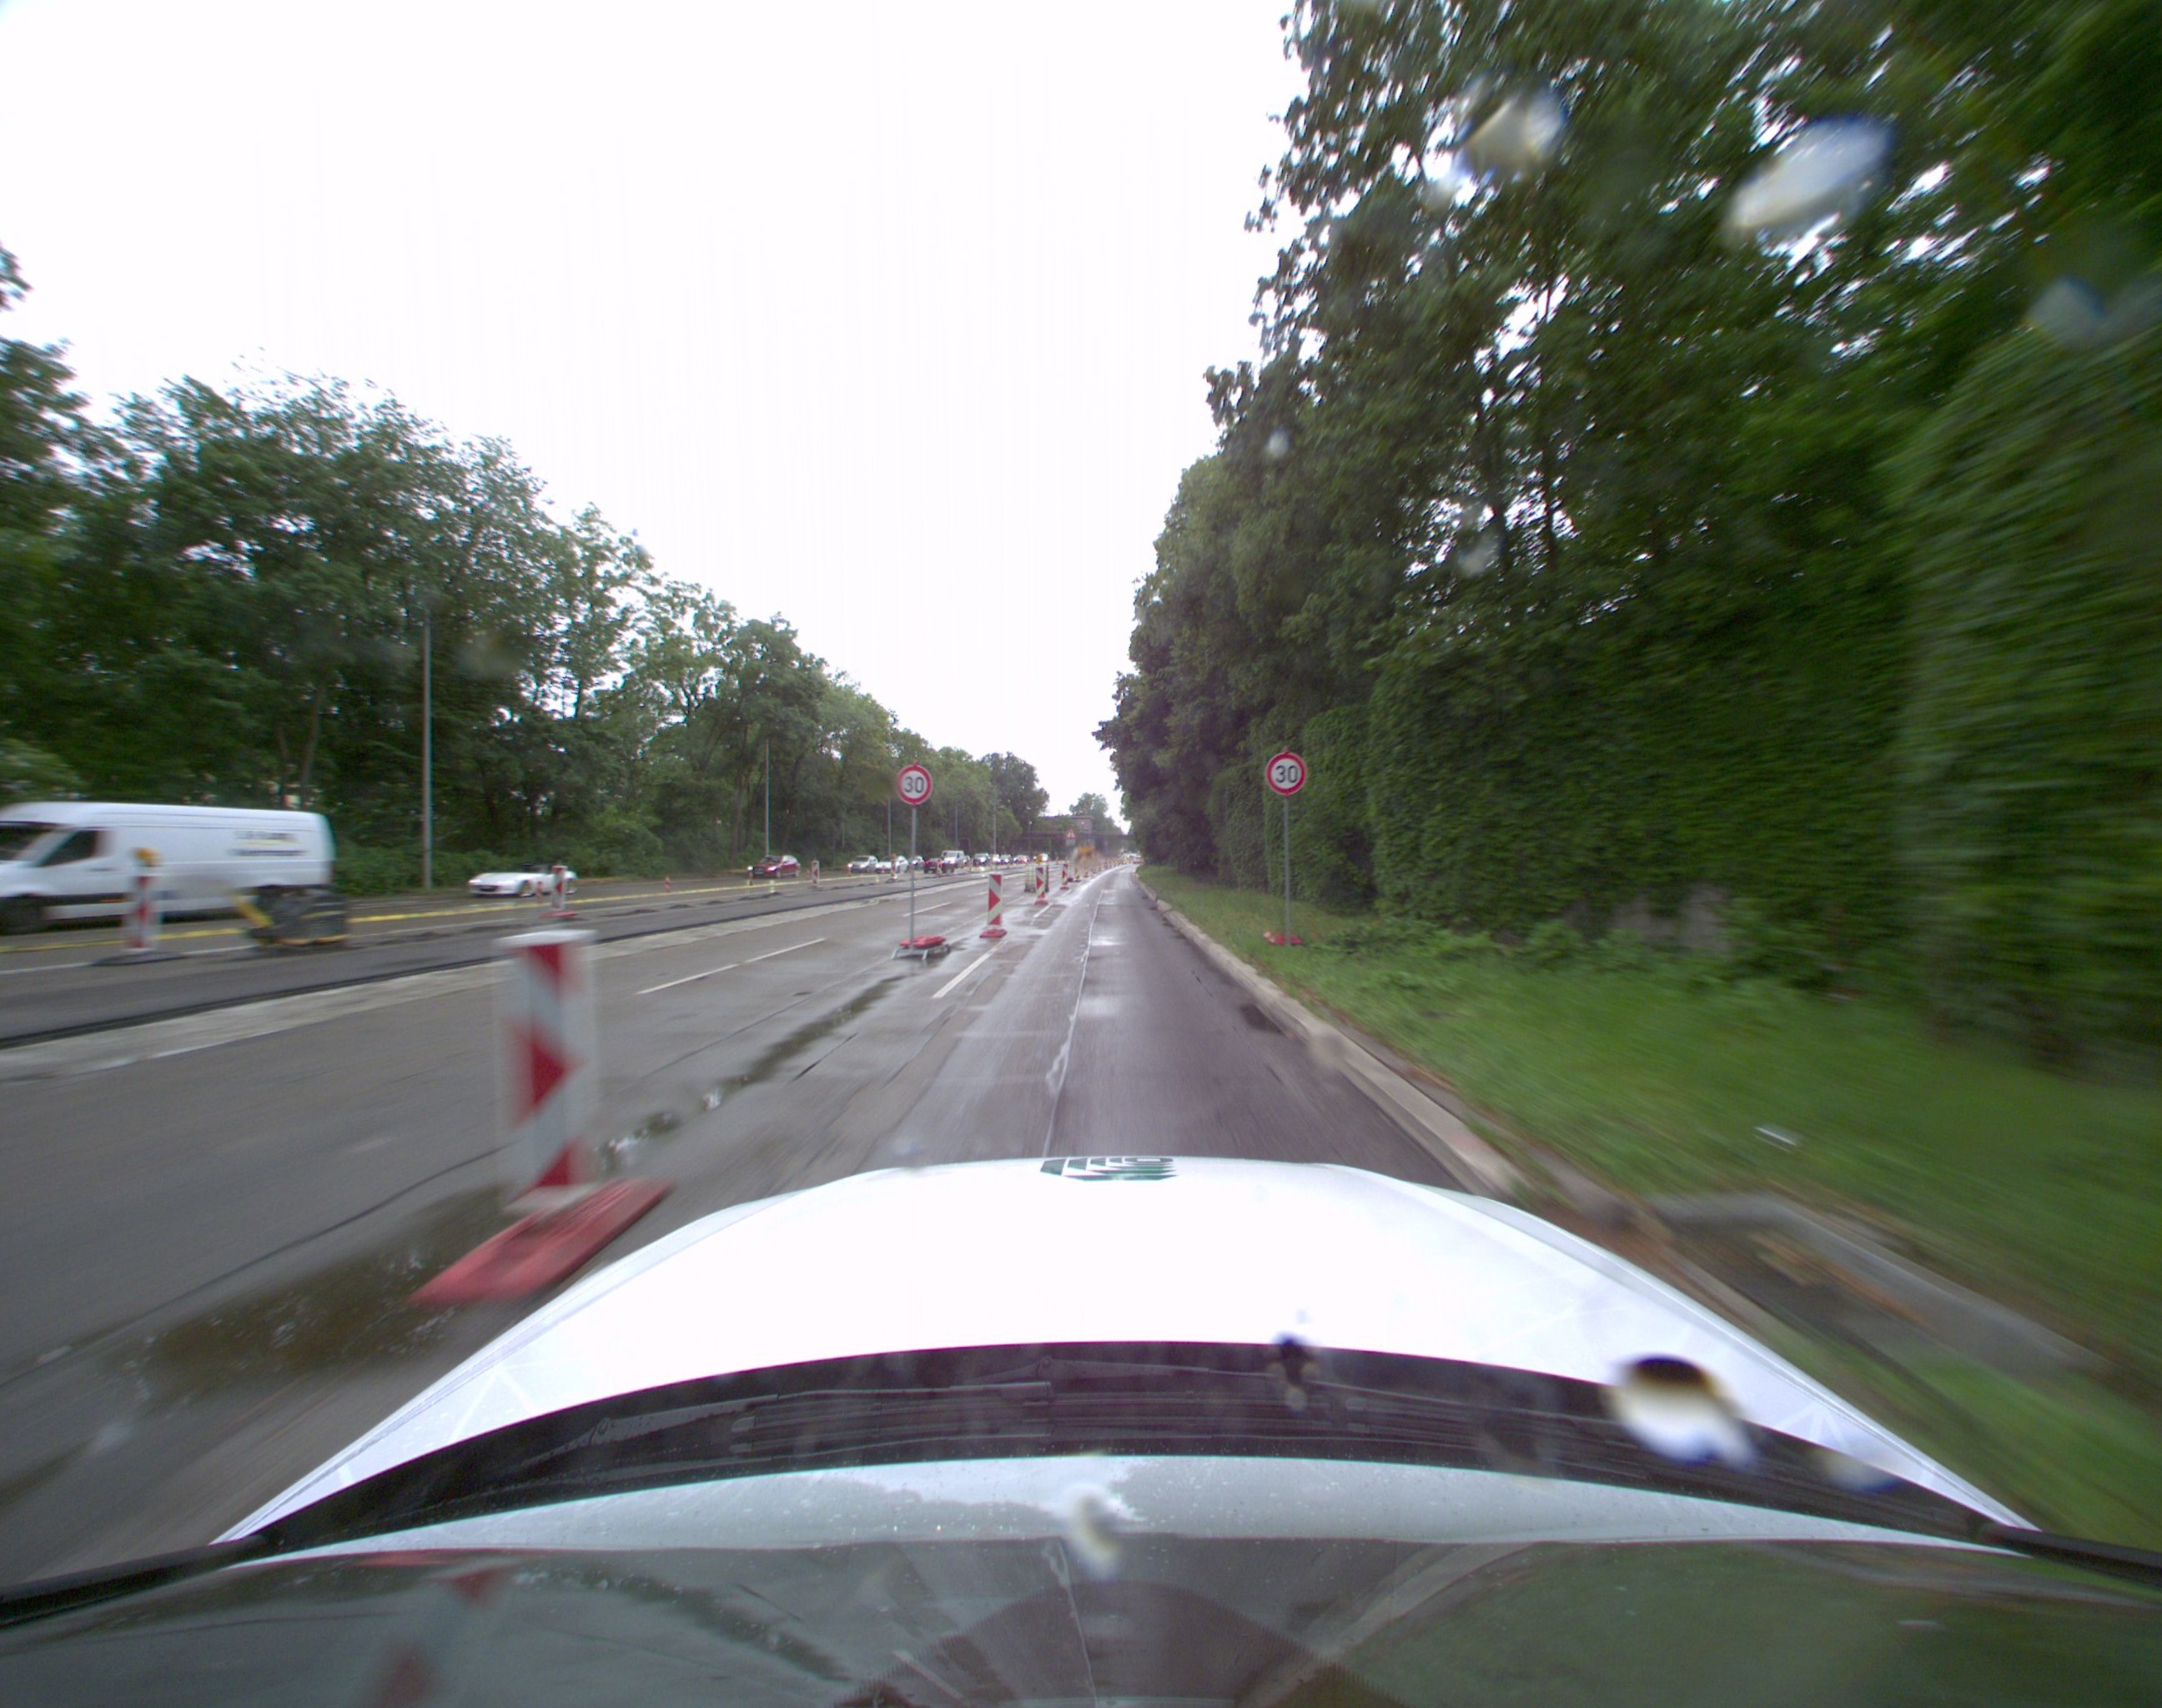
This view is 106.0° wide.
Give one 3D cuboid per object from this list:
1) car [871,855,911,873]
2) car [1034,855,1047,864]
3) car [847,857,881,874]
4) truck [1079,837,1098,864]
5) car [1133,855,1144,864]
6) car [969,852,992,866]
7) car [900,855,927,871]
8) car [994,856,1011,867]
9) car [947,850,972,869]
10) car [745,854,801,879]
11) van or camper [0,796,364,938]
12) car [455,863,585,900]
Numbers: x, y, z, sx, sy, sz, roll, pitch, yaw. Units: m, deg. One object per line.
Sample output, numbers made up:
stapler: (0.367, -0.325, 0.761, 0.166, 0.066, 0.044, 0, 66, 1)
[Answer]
car: (-15.570, 0.800, 66.998, 1.985, 1.416, 4.397, -1, 0, 3)
car: (-7.902, 1.080, 159.526, 1.882, 1.661, 4.897, 0, 0, 3)
car: (-18.147, 0.955, 68.328, 1.672, 1.400, 3.642, 1, 0, 3)
truck: (1.261, -0.555, 131.700, 2.887, 4.259, 10.759, 1, 0, 1)
car: (11.517, 1.130, 162.305, 1.983, 1.640, 4.007, -1, 0, 6)
car: (-12.918, 0.647, 104.868, 2.012, 1.725, 5.019, 1, 0, 5)
car: (-17.162, 0.898, 83.600, 1.820, 1.621, 4.002, 0, 0, 2)
car: (-11.680, 1.096, 121.411, 1.767, 1.487, 4.203, 0, 0, 6)
car: (-13.281, 0.578, 89.188, 1.987, 1.972, 4.902, 1, 0, 0)
car: (-19.418, 0.755, 51.596, 1.722, 1.476, 4.488, 0, 0, 1)
van or camper: (-20.400, 0.215, 17.976, 1.986, 2.555, 7.734, 1, 0, 2)
car: (-20.115, 0.948, 29.424, 1.681, 1.183, 4.004, 1, 0, 4)
